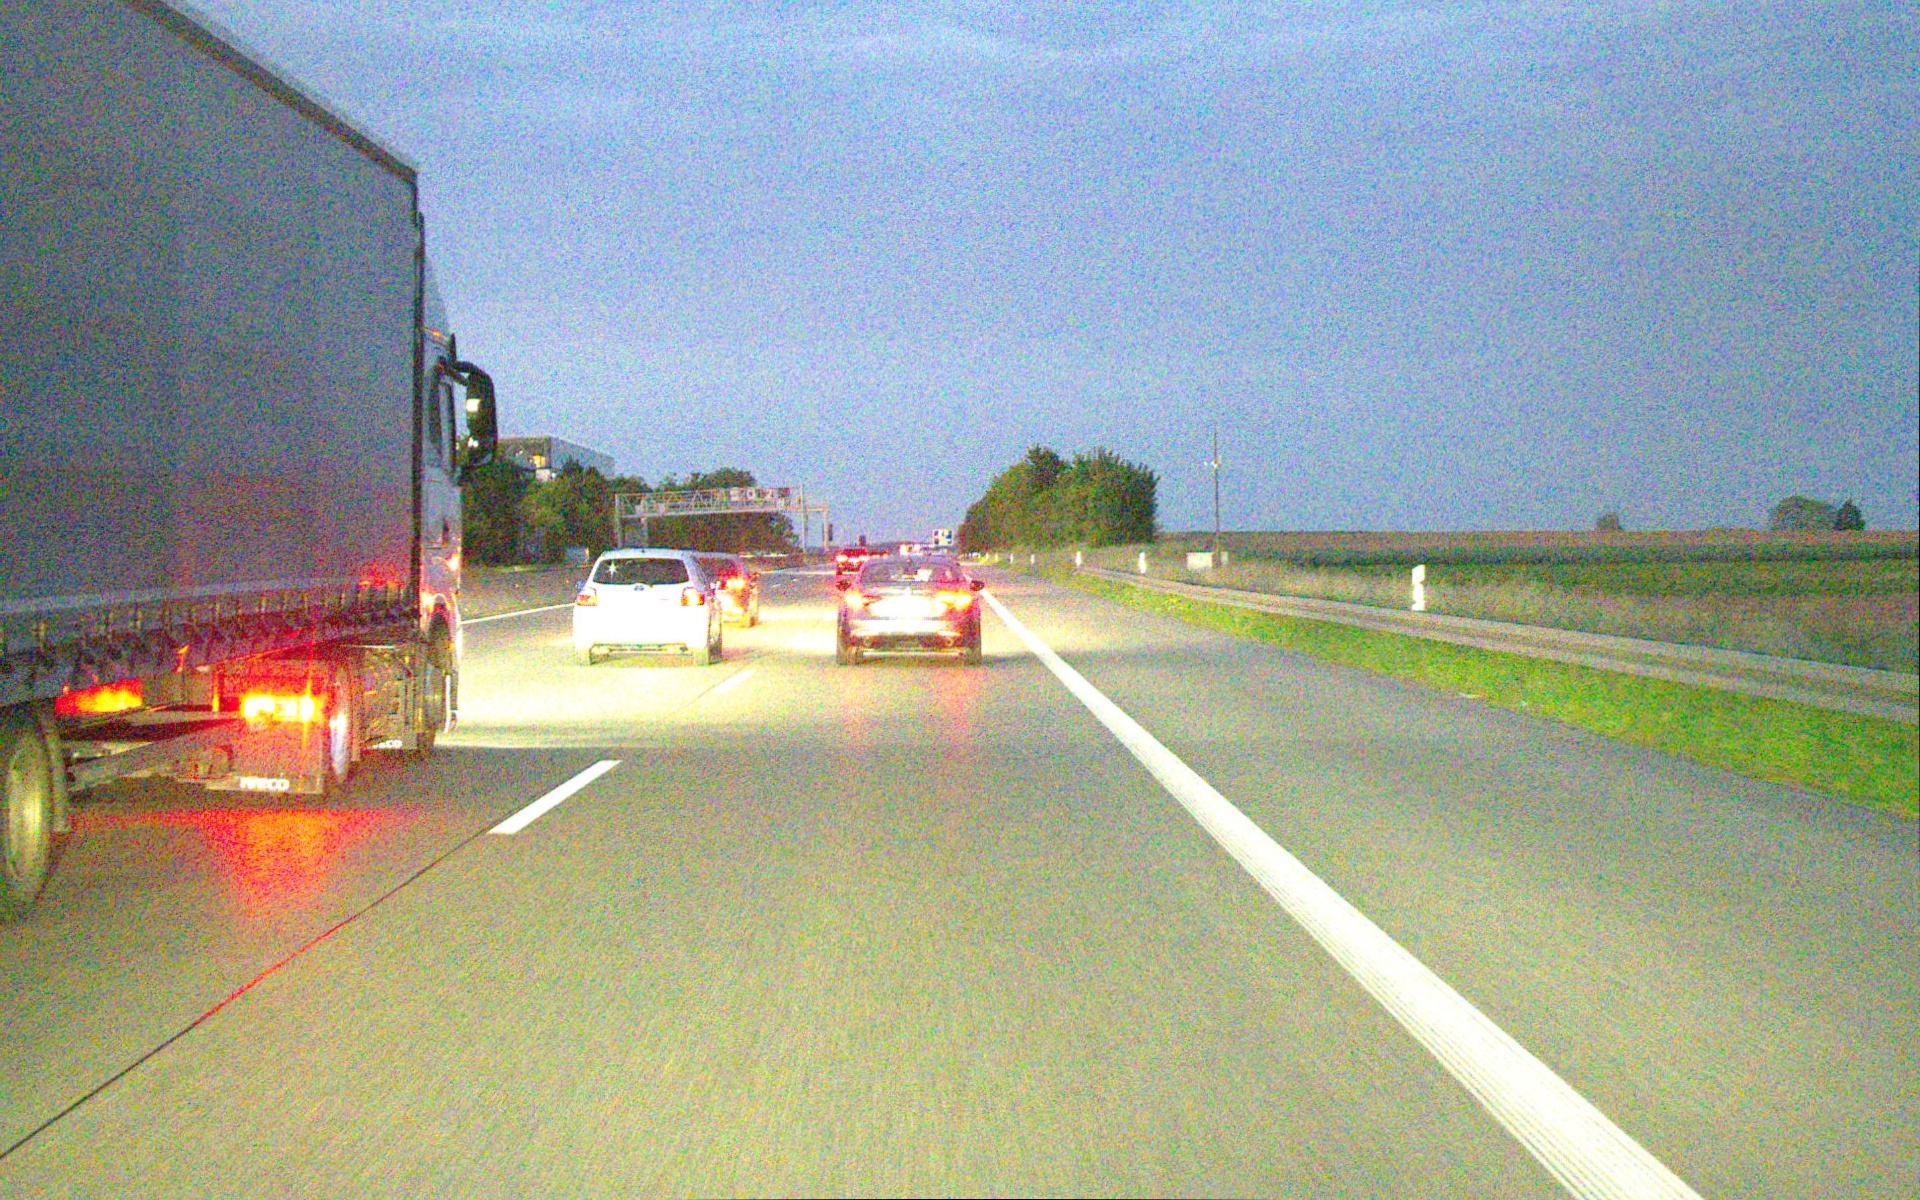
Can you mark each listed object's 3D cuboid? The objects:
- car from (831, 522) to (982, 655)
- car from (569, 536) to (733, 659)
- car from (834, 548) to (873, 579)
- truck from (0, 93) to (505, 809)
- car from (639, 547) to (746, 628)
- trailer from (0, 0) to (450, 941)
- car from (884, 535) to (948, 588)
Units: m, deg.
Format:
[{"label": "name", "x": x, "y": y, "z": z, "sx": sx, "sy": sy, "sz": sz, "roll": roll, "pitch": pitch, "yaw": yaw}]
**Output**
[{"label": "car", "x": -0.692, "y": -0.159, "z": 45.303, "sx": 1.880, "sy": 1.637, "sz": 4.000, "roll": 1, "pitch": 0, "yaw": 0}, {"label": "car", "x": -4.022, "y": -0.053, "z": 45.346, "sx": 1.744, "sy": 1.519, "sz": 4.414, "roll": 1, "pitch": 0, "yaw": 0}, {"label": "car", "x": -5.395, "y": -1.859, "z": 174.736, "sx": 1.880, "sy": 1.547, "sz": 4.000, "roll": 1, "pitch": 0, "yaw": -1}, {"label": "truck", "x": -4.837, "y": -0.871, "z": 22.708, "sx": 2.777, "sy": 4.079, "sz": 6.103, "roll": 0, "pitch": 0, "yaw": 0}, {"label": "car", "x": -5.085, "y": -0.257, "z": 65.762, "sx": 1.722, "sy": 1.466, "sz": 4.726, "roll": 1, "pitch": 0, "yaw": -1}, {"label": "trailer", "x": -4.897, "y": -0.805, "z": 15.880, "sx": 2.794, "sy": 4.071, "sz": 14.526, "roll": 0, "pitch": 0, "yaw": 0}, {"label": "car", "x": -1.333, "y": -1.149, "z": 104.259, "sx": 1.880, "sy": 1.547, "sz": 4.000, "roll": 1, "pitch": 0, "yaw": -1}]
